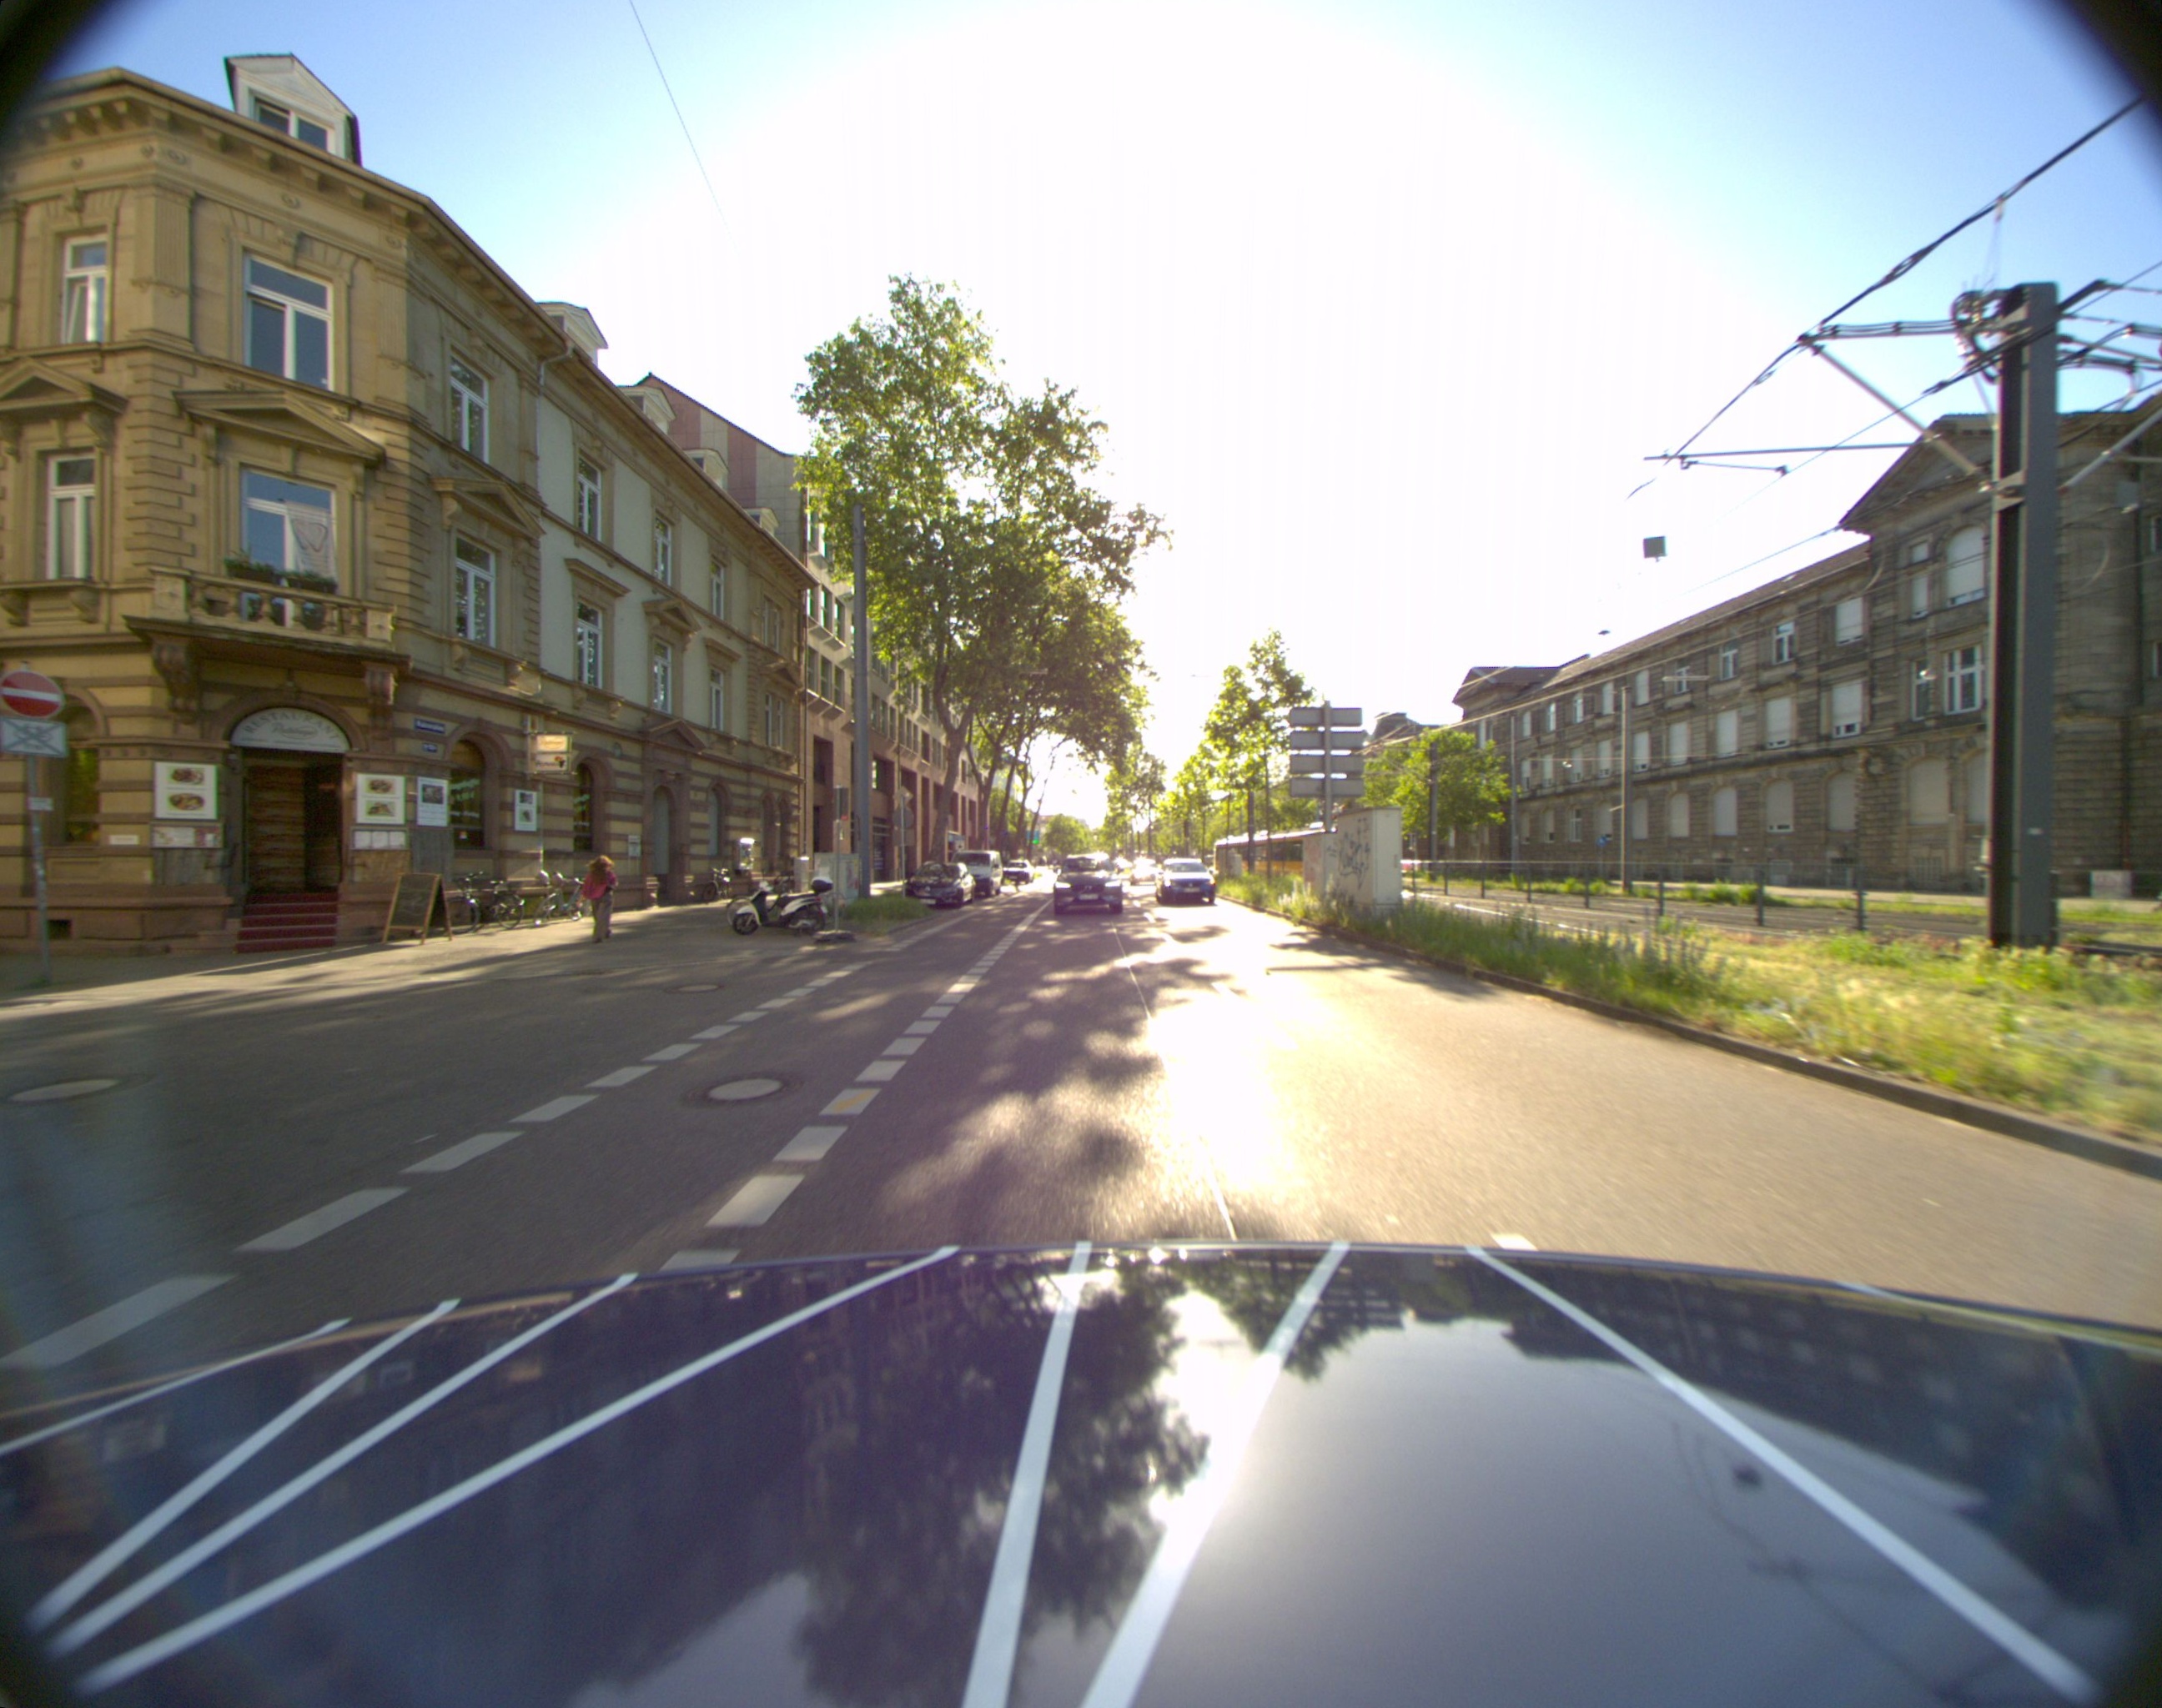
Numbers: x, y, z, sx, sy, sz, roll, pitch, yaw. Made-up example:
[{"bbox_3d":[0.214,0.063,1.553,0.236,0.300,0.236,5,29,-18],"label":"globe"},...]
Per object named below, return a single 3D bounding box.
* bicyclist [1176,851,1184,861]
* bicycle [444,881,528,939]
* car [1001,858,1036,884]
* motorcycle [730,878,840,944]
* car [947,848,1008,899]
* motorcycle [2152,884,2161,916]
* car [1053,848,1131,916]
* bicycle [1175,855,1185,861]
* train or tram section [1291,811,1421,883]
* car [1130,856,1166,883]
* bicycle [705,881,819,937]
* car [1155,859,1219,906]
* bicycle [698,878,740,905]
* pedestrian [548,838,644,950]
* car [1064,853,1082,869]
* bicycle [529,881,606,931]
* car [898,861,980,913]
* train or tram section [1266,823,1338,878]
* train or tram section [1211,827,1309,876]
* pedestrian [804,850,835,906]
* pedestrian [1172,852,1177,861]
[{"bbox_3d":[17.169,0.366,132.082,0.970,1.634,0.833,-2,1,-31],"label":"bicyclist"},{"bbox_3d":[-11.869,1.089,15.216,0.280,1.014,1.730,1,0,1],"label":"bicycle"},{"bbox_3d":[-3.965,1.062,49.034,1.672,1.561,4.280,-2,0,2],"label":"car"},{"bbox_3d":[-5.912,1.129,15.243,1.954,1.224,0.515,-2,0,-2],"label":"motorcycle"},{"bbox_3d":[-4.389,0.783,32.949,1.861,2.002,4.724,-2,0,1],"label":"car"},{"bbox_3d":[26.761,1.142,18.106,0.369,0.779,1.522,-2,0,3],"label":"motorcycle"},{"bbox_3d":[0.276,0.725,21.640,1.949,1.690,5.306,0,0,0],"label":"car"},{"bbox_3d":[17.209,0.689,132.057,1.666,1.035,0.543,-2,1,-30],"label":"bicycle"},{"bbox_3d":[14.930,-0.297,42.533,2.969,3.463,11.286,-1,0,-1],"label":"train or tram section"},{"bbox_3d":[3.891,0.870,44.562,1.798,1.420,4.000,-2,0,1],"label":"car"},{"bbox_3d":[-6.797,1.166,16.239,2.227,1.087,0.456,-2,0,2],"label":"bicycle"},{"bbox_3d":[3.508,0.905,25.794,1.777,1.439,3.870,-1,0,2],"label":"car"},{"bbox_3d":[-11.677,1.206,24.566,0.550,0.769,1.663,2,0,1],"label":"bicycle"},{"bbox_3d":[-9.000,0.710,14.142,1.090,2.002,1.046,1,1,2],"label":"pedestrian"},{"bbox_3d":[-0.852,0.756,82.768,1.833,1.608,4.000,-2,0,1],"label":"car"},{"bbox_3d":[-11.530,1.135,17.124,0.415,0.991,1.882,-1,0,1],"label":"bicycle"},{"bbox_3d":[-4.664,1.025,25.638,1.823,1.506,4.707,-2,0,0],"label":"car"},{"bbox_3d":[14.802,-0.205,51.343,2.964,3.463,6.060,-1,0,0],"label":"train or tram section"},{"bbox_3d":[14.597,-0.110,64.945,2.971,3.463,21.216,-1,0,-1],"label":"train or tram section"},{"bbox_3d":[-8.775,0.783,25.505,0.644,1.816,0.895,-2,0,3],"label":"pedestrian"},{"bbox_3d":[16.985,0.456,137.514,0.595,1.735,0.698,-2,1,-31],"label":"pedestrian"}]
